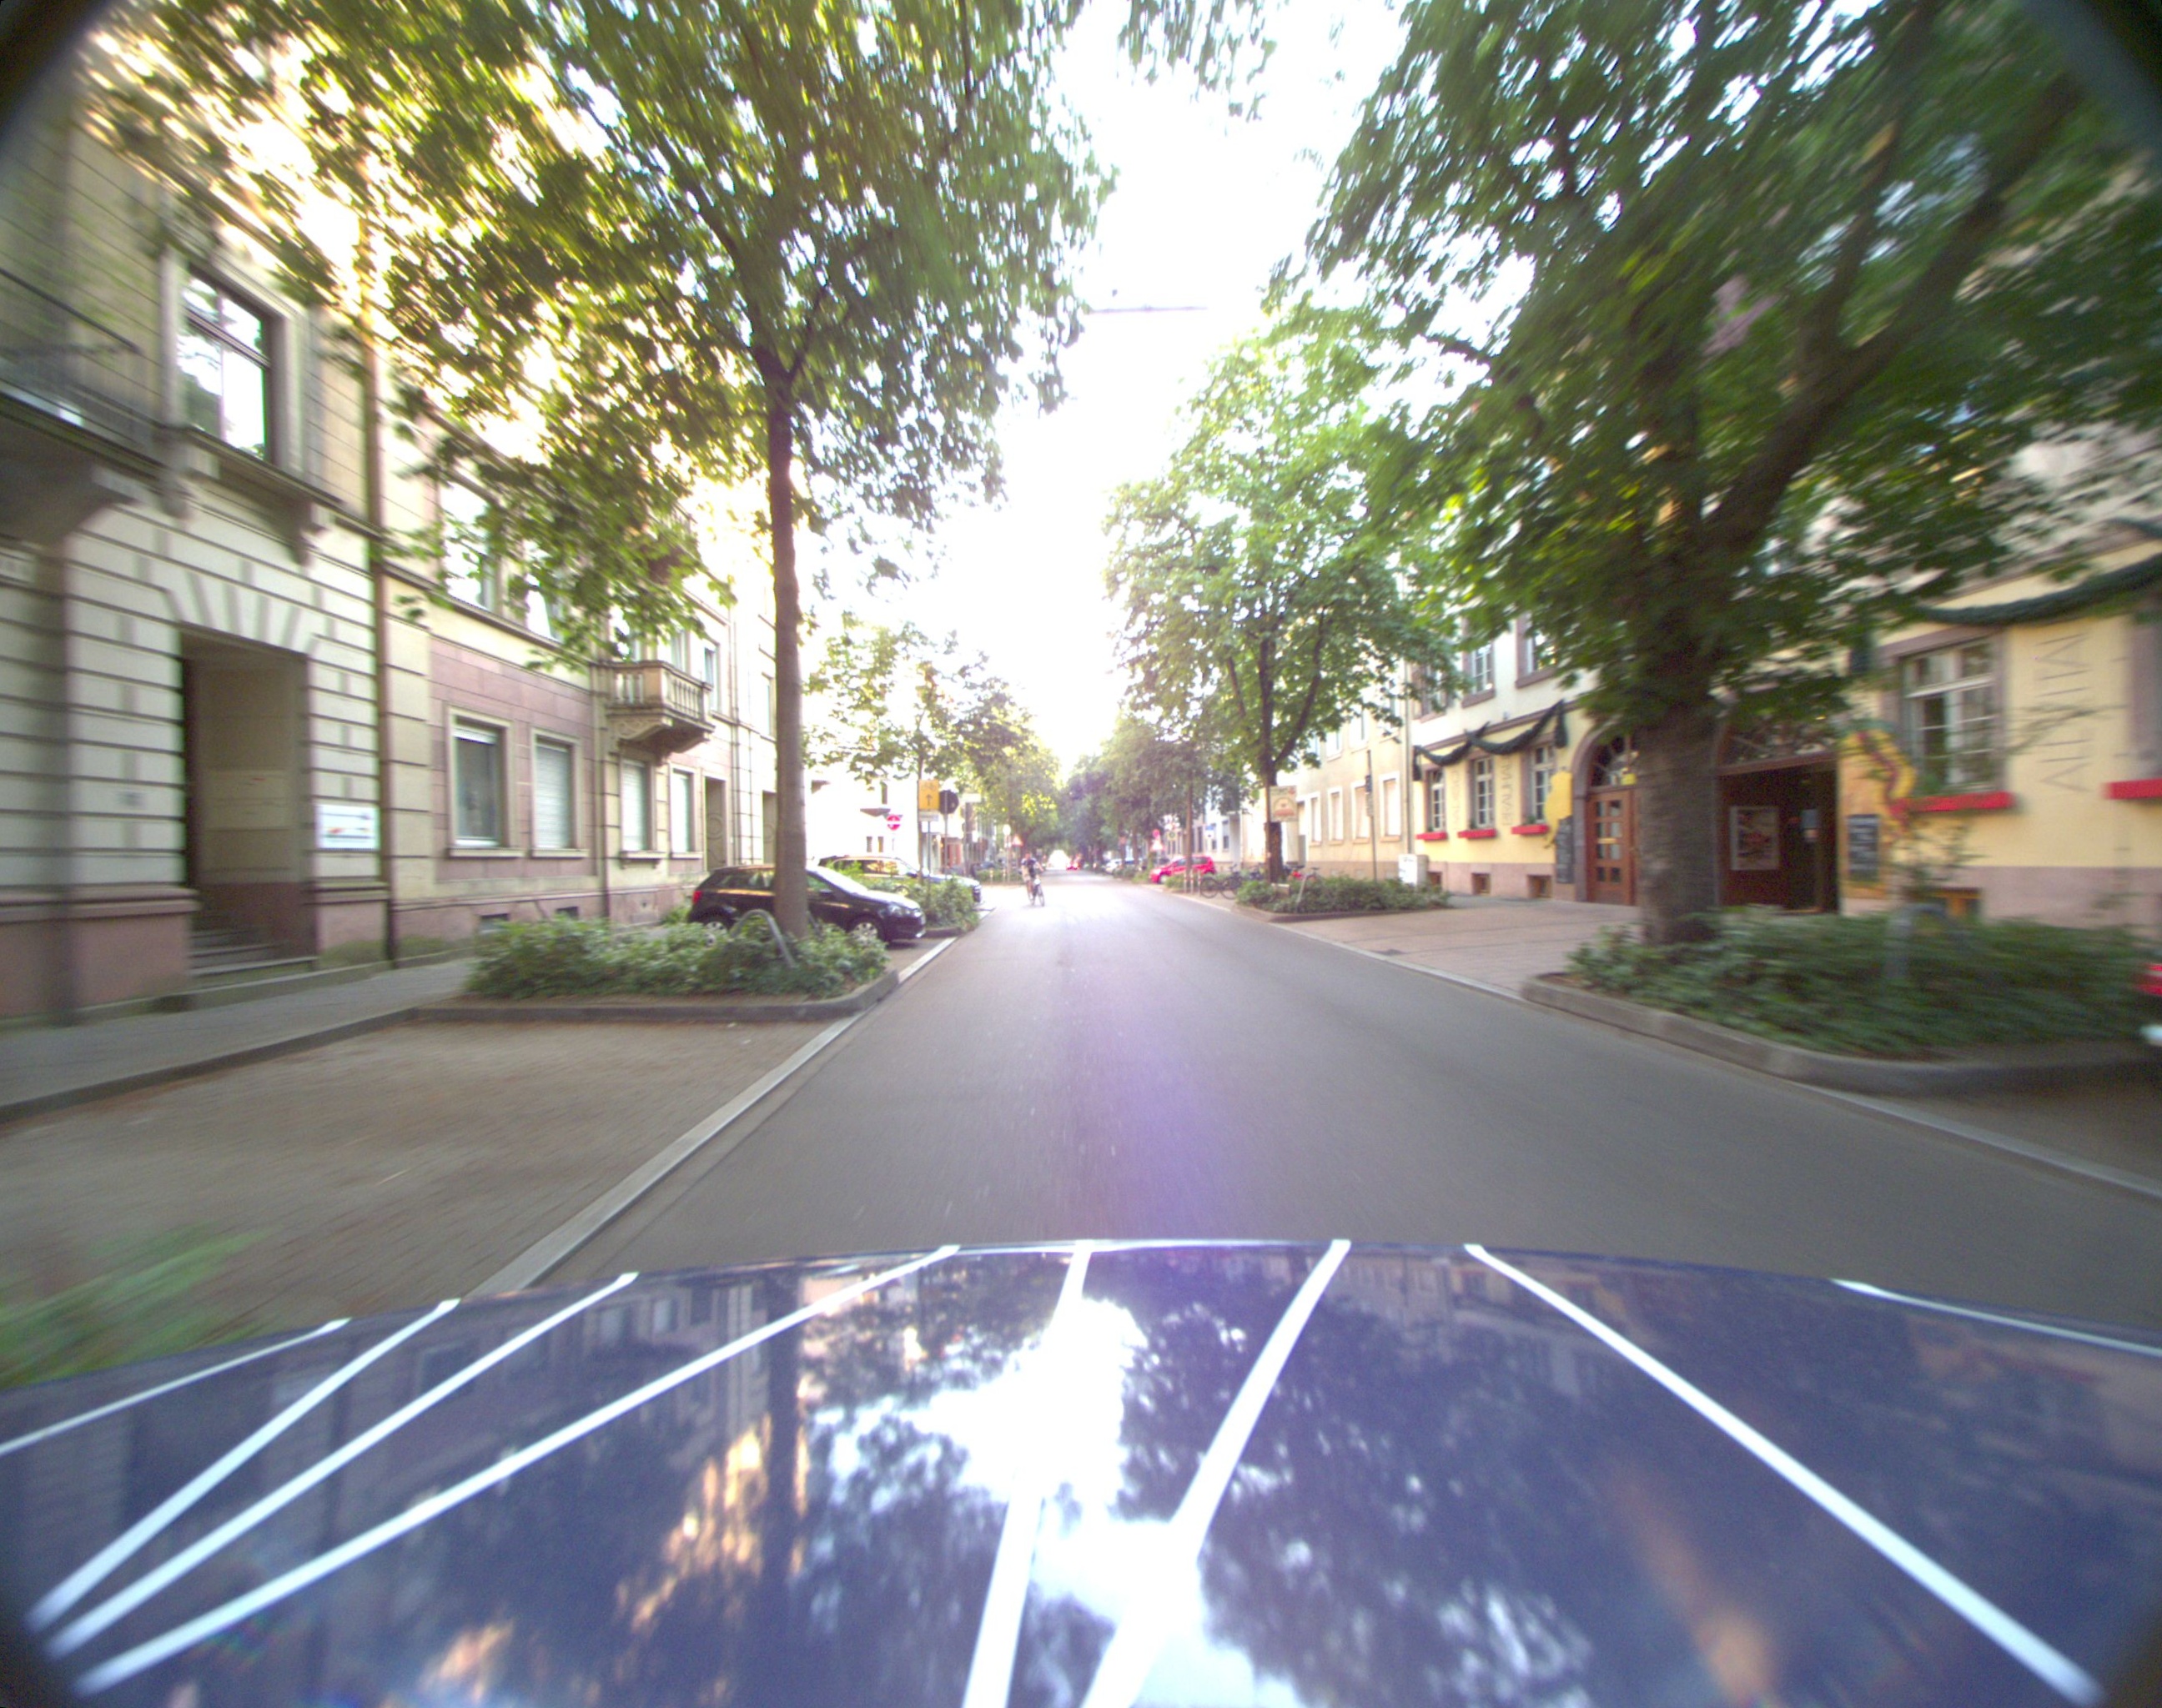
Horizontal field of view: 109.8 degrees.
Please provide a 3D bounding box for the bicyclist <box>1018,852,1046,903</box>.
[{"bbox_3d":[-1.585,0.746,24.792,0.753,1.612,1.147,-2,0,1],"label":"bicyclist"}]

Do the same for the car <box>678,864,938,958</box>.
[{"bbox_3d":[-4.598,0.950,13.268,3.876,1.419,1.781,2,-1,-3],"label":"car"}]

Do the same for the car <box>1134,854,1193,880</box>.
[{"bbox_3d":[5.399,0.848,50.106,3.553,1.411,1.590,-4,0,-4],"label":"car"}]

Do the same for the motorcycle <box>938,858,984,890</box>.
[{"bbox_3d":[-6.294,1.024,39.782,2.248,1.537,0.772,-3,1,-17],"label":"motorcycle"}]

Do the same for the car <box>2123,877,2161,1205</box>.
[{"bbox_3d":[6.878,0.696,2.700,4.437,1.399,1.717,-3,1,-5],"label":"car"}]

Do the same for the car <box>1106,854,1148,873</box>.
[{"bbox_3d":[4.109,0.850,68.448,3.552,1.411,1.590,-4,0,-2],"label":"car"}]

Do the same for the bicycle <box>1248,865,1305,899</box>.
[{"bbox_3d":[6.836,0.973,26.600,1.869,1.093,0.480,-3,1,-8],"label":"bicycle"}]

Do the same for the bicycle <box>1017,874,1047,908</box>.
[{"bbox_3d":[-1.565,1.181,24.756,0.778,0.967,2.024,-2,0,1],"label":"bicycle"}]

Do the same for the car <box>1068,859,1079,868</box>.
[{"bbox_3d":[-1.319,1.613,130.541,1.673,1.411,3.554,-4,0,-1],"label":"car"}]

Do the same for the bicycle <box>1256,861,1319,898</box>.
[{"bbox_3d":[6.699,0.825,24.675,1.869,1.093,0.509,-3,1,-8],"label":"bicycle"}]

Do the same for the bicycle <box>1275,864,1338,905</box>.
[{"bbox_3d":[6.683,0.903,22.527,1.712,1.093,0.480,-3,1,-8],"label":"bicycle"}]

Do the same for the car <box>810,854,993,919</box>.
[{"bbox_3d":[-4.801,0.861,20.700,4.421,1.552,1.867,2,-1,5],"label":"car"}]

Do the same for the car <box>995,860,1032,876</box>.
[{"bbox_3d":[-6.761,1.409,76.462,3.552,1.411,1.590,-4,0,-2],"label":"car"}]

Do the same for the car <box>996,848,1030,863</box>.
[{"bbox_3d":[-7.582,0.162,84.689,3.552,1.411,1.590,-4,0,-2],"label":"car"}]

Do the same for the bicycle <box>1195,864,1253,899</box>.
[{"bbox_3d":[4.946,0.946,26.343,1.869,1.092,0.480,-3,1,-8],"label":"bicycle"}]

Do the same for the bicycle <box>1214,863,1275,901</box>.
[{"bbox_3d":[5.422,0.918,25.171,1.869,1.138,0.480,-3,1,-8],"label":"bicycle"}]

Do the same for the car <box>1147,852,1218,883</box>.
[{"bbox_3d":[5.504,0.709,41.325,3.498,1.397,1.672,-4,0,-4],"label":"car"}]

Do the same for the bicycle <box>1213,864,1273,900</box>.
[{"bbox_3d":[5.476,0.937,25.699,1.869,1.093,0.480,-3,1,-8],"label":"bicycle"}]

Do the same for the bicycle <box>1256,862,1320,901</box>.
[{"bbox_3d":[6.522,0.855,23.959,1.869,1.093,0.480,-3,1,-8],"label":"bicycle"}]

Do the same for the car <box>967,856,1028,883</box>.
[{"bbox_3d":[-6.073,1.111,55.504,4.167,1.665,1.590,-4,0,-2],"label":"car"}]

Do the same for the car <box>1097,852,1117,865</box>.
[{"bbox_3d":[3.016,0.542,89.811,1.999,1.368,3.999,-3,1,-2],"label":"car"}]
